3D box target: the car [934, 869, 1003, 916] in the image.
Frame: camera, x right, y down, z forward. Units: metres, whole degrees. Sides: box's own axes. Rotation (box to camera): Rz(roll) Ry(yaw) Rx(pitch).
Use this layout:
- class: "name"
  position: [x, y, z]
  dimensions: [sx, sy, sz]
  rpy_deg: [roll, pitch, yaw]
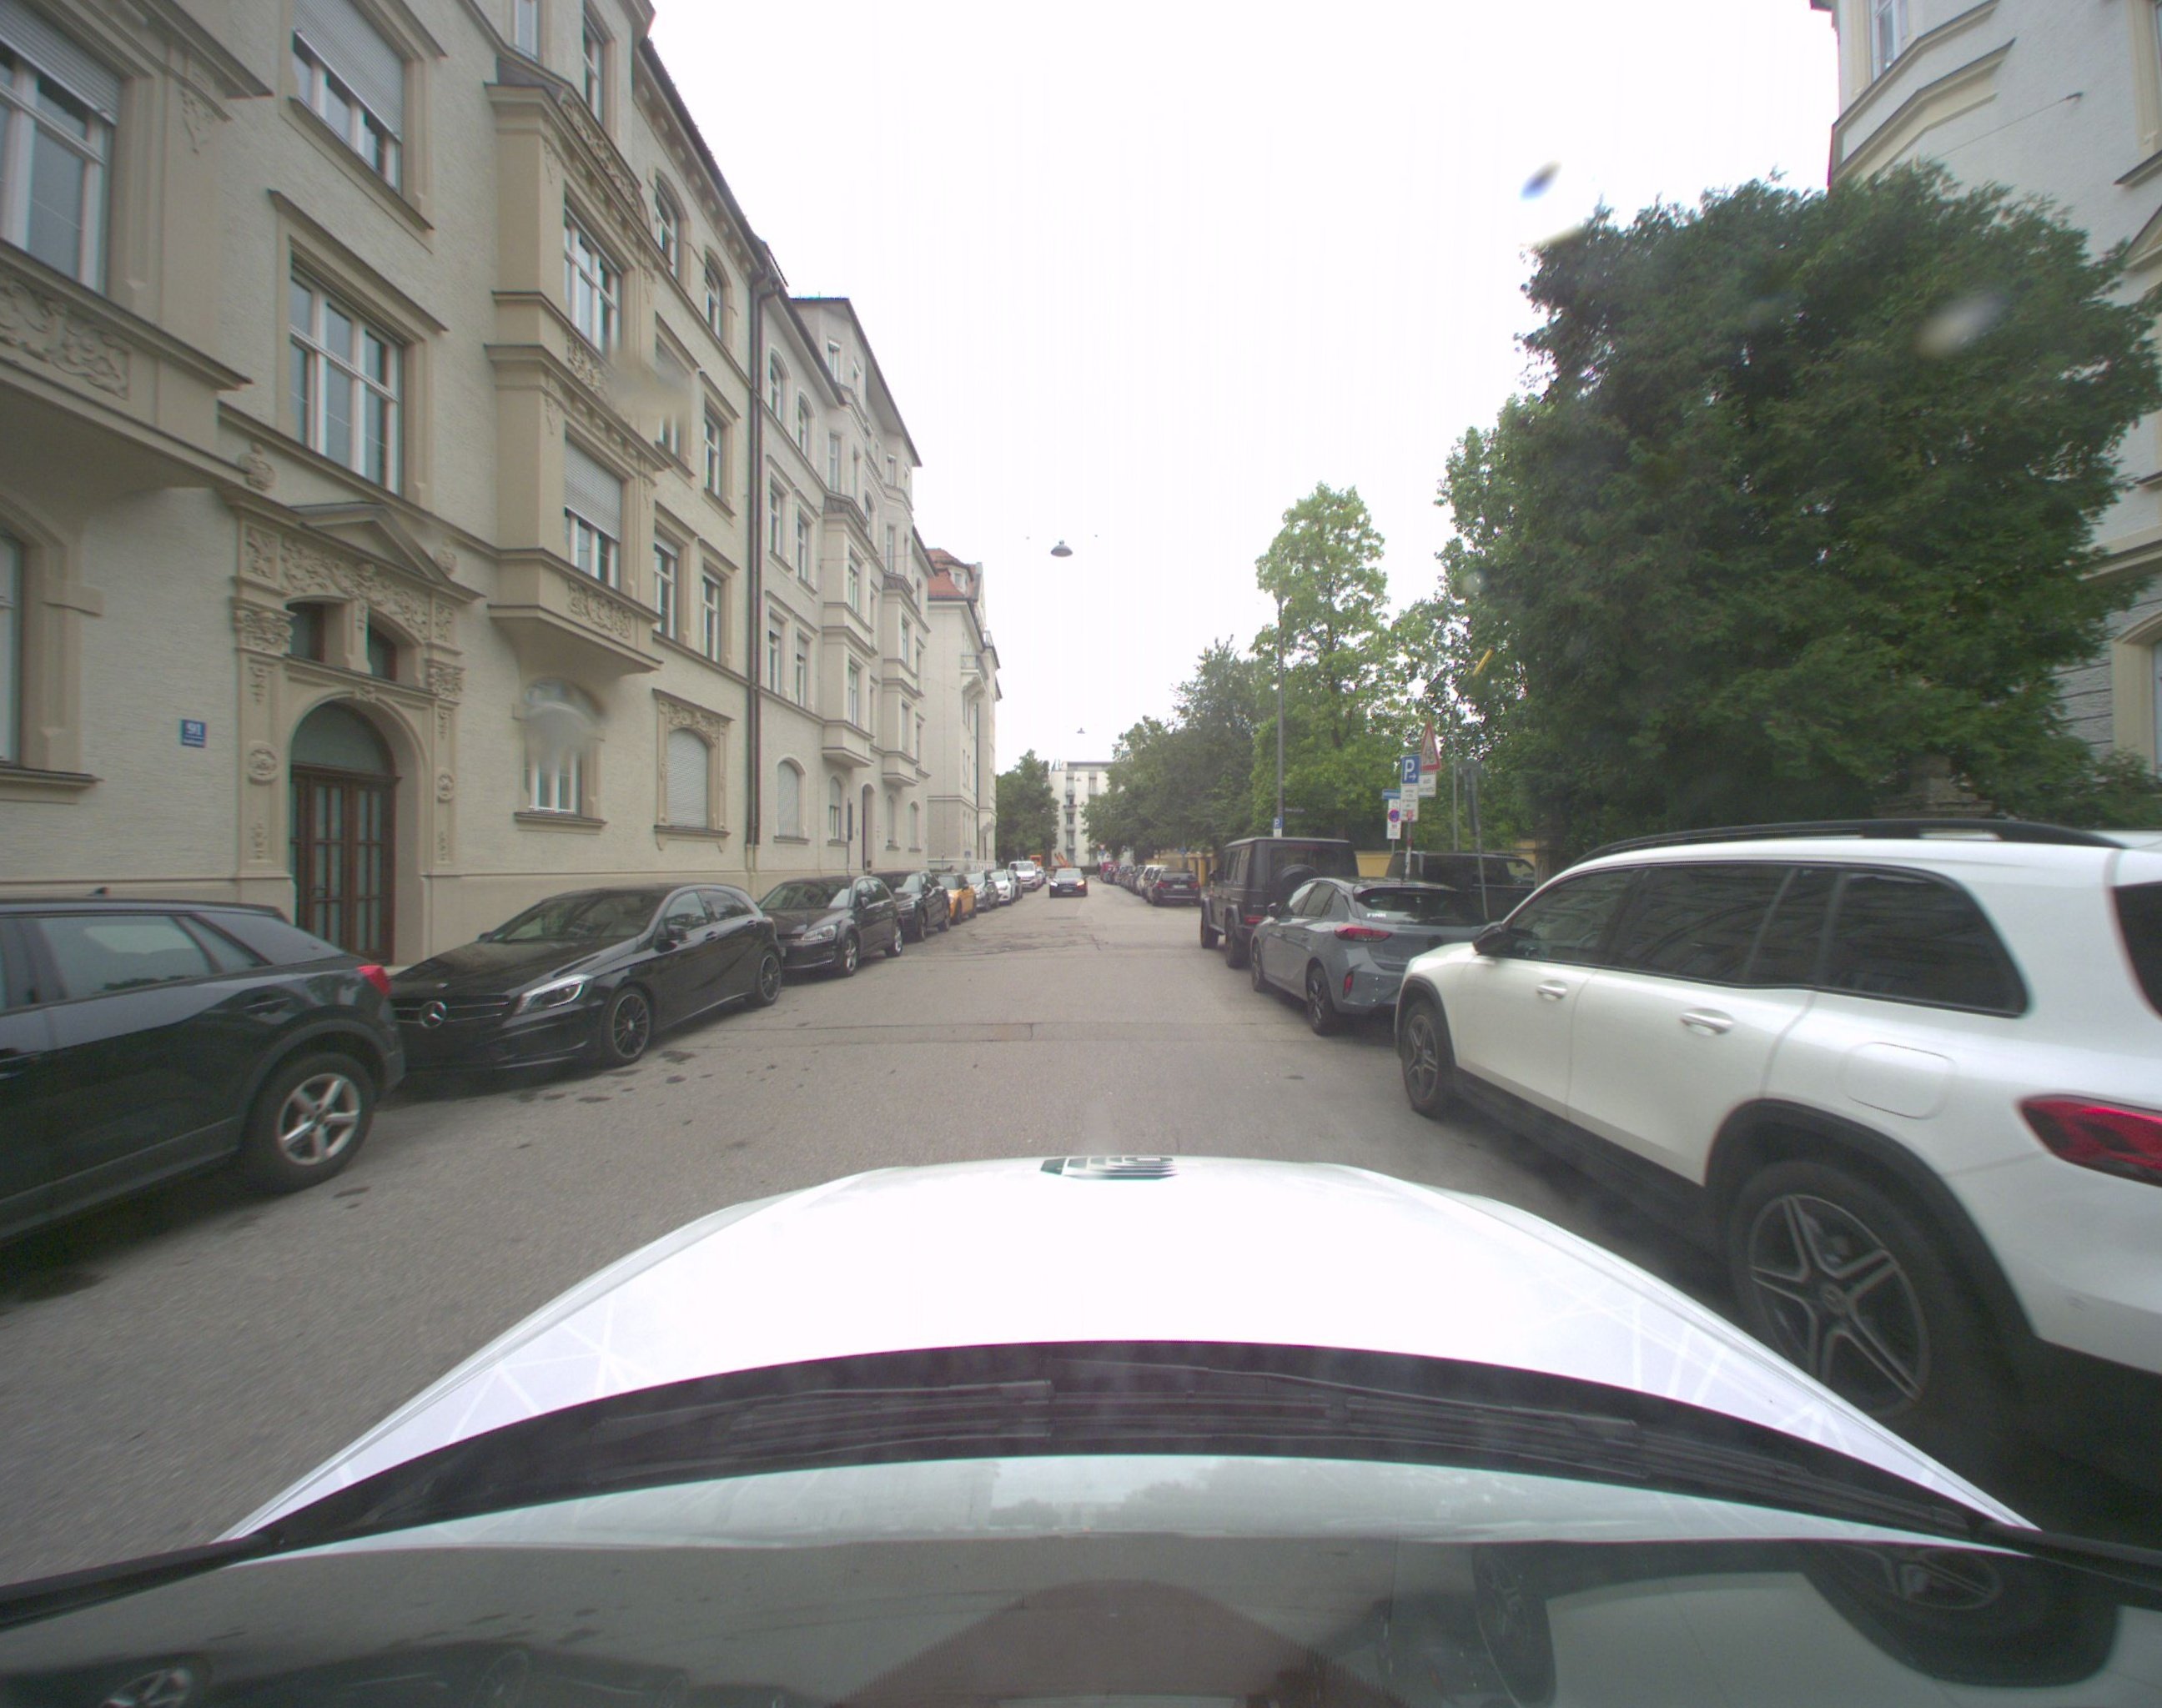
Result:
- class: "car"
  position: [-3.924, 1.343, 29.022]
  dimensions: [1.719, 1.500, 3.931]
  rpy_deg: [-2, -2, 2]

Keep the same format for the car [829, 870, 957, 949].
- class: "car"
  position: [-4.097, 1.157, 18.415]
  dimensions: [1.746, 1.500, 4.020]
  rpy_deg: [-3, -1, 2]

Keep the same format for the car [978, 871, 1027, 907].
- class: "car"
  position: [-3.672, 1.600, 38.728]
  dimensions: [1.830, 1.499, 4.274]
  rpy_deg: [-3, -1, 0]

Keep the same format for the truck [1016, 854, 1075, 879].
- class: "truck"
  position: [-4.907, 1.714, 111.742]
  dimensions: [7.676, 3.241, 2.887]
  rpy_deg: [-1, -1, -12]

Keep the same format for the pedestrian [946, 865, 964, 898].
- class: "pedestrian"
  position: [-6.464, 1.408, 41.774]
  dimensions: [0.789, 1.679, 0.700]
  rpy_deg: [-1, -1, 0]

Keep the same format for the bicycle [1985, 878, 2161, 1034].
- class: "bicycle"
  position: [8.366, 0.818, 6.663]
  dimensions: [1.484, 1.198, 0.489]
  rpy_deg: [2, -2, -4]

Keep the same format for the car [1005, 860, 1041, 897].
- class: "car"
  position: [-3.698, 1.537, 52.235]
  dimensions: [1.880, 2.128, 4.704]
  rpy_deg: [-3, -1, -1]

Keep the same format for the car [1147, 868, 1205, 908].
- class: "car"
  position: [3.586, 1.288, 31.390]
  dimensions: [1.832, 1.413, 4.343]
  rpy_deg: [0, -2, 1]

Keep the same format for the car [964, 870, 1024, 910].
- class: "car"
  position: [-3.545, 1.442, 33.910]
  dimensions: [1.829, 1.438, 4.276]
  rpy_deg: [-3, -1, 2]

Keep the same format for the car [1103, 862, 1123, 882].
- class: "car"
  position: [3.281, 1.820, 81.950]
  dimensions: [1.828, 1.927, 4.008]
  rpy_deg: [2, -1, 4]

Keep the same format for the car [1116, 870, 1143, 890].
- class: "car"
  position: [3.877, 2.094, 66.012]
  dimensions: [1.834, 1.519, 3.944]
  rpy_deg: [1, -2, -2]

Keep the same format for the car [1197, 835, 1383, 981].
- class: "car"
  position: [3.180, 0.740, 13.419]
  dimensions: [1.944, 1.954, 4.666]
  rpy_deg: [1, 0, 1]

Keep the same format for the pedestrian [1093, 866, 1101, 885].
- class: "pedestrian"
  position: [1.907, 2.494, 94.617]
  dimensions: [0.836, 2.285, 0.845]
  rpy_deg: [-1, -2, 4]

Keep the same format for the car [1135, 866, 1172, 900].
- class: "car"
  position: [3.657, 1.459, 41.374]
  dimensions: [1.509, 1.661, 3.672]
  rpy_deg: [1, -2, -1]

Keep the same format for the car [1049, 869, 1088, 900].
- class: "car"
  position: [-0.613, 1.519, 41.315]
  dimensions: [1.869, 1.428, 4.406]
  rpy_deg: [-1, -1, -1]

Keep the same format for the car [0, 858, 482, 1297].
- class: "car"
  position: [-4.652, 0.827, 2.884]
  dimensions: [1.765, 1.518, 4.383]
  rpy_deg: [-4, -1, -1]

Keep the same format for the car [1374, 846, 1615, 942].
- class: "car"
  position: [9.181, 0.831, 18.297]
  dimensions: [4.522, 1.950, 1.900]
  rpy_deg: [-1, 0, -6]

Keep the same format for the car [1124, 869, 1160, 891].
- class: "car"
  position: [3.865, 1.638, 52.132]
  dimensions: [1.834, 1.346, 3.944]
  rpy_deg: [1, -2, -2]

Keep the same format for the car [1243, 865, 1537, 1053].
- class: "car"
  position: [2.962, 0.929, 8.639]
  dimensions: [1.717, 1.519, 3.629]
  rpy_deg: [2, -2, 0]

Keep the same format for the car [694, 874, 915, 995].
- class: "car"
  position: [-4.066, 1.111, 12.829]
  dimensions: [1.829, 1.436, 4.246]
  rpy_deg: [-3, -1, 2]

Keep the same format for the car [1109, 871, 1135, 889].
- class: "car"
  position: [3.493, 2.241, 70.077]
  dimensions: [1.834, 1.519, 3.944]
  rpy_deg: [1, -2, -2]

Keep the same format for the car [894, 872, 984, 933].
- class: "car"
  position: [-3.972, 1.320, 23.446]
  dimensions: [1.634, 1.499, 3.974]
  rpy_deg: [-3, -1, 3]

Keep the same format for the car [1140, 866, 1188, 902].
- class: "car"
  position: [3.677, 1.350, 36.645]
  dimensions: [1.648, 1.519, 3.791]
  rpy_deg: [1, -2, -2]

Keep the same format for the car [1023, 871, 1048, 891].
- class: "car"
  position: [-4.183, 2.497, 76.072]
  dimensions: [2.009, 1.634, 4.412]
  rpy_deg: [-3, -1, -1]

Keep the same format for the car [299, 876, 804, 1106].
- class: "car"
  position: [-4.391, 0.991, 7.838]
  dimensions: [1.827, 1.434, 4.553]
  rpy_deg: [-2, -1, 0]

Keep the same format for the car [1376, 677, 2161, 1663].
- class: "car"
  position: [2.896, 0.652, 3.592]
  dimensions: [1.716, 1.769, 4.414]
  rpy_deg: [2, -2, 2]
